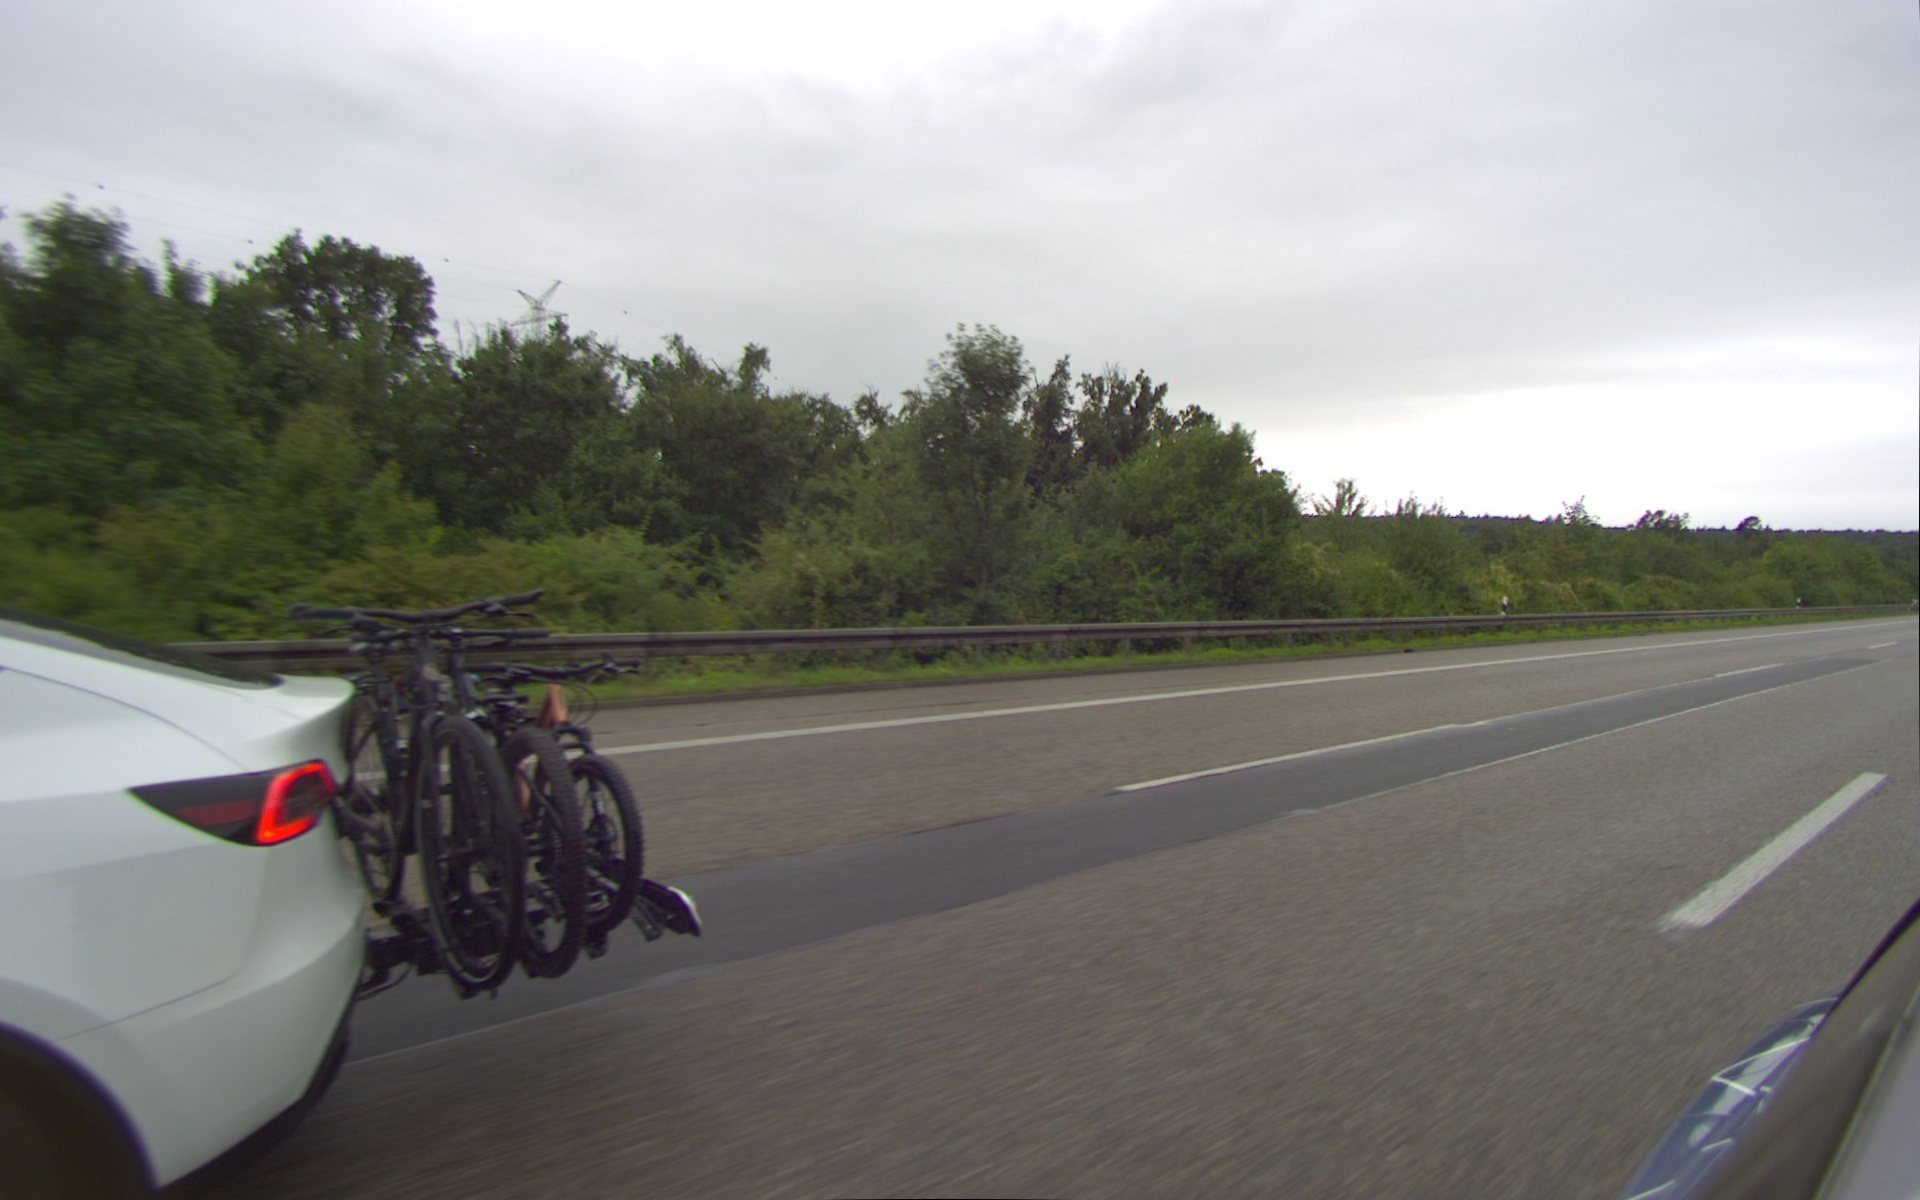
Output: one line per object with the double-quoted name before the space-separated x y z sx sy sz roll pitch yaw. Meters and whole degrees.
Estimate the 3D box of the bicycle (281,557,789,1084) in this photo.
"bicycle" -1.375 0.434 3.071 0.898 1.104 1.756 -1 2 -42

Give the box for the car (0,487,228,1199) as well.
"car" -3.836 0.597 1.009 4.879 1.587 1.863 0 1 -42
